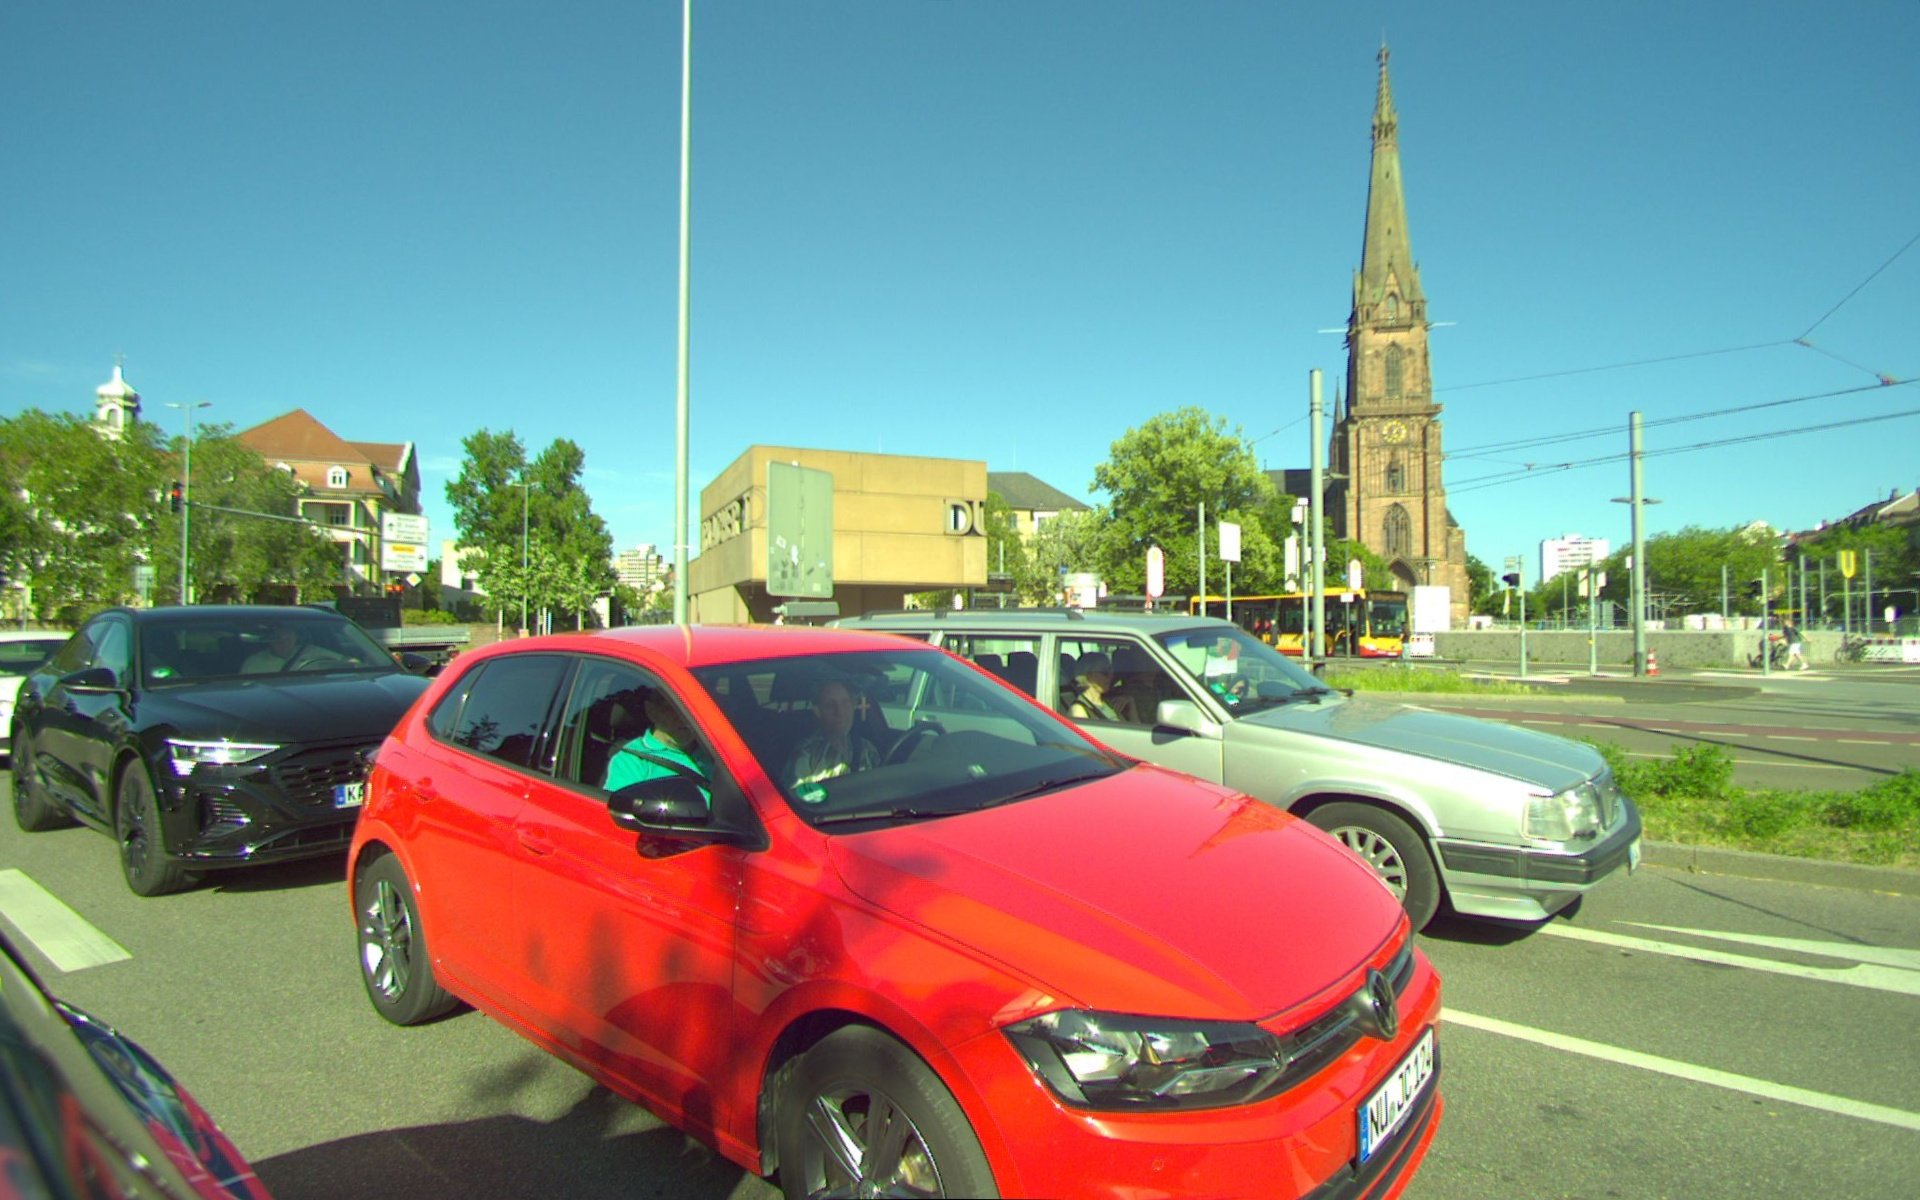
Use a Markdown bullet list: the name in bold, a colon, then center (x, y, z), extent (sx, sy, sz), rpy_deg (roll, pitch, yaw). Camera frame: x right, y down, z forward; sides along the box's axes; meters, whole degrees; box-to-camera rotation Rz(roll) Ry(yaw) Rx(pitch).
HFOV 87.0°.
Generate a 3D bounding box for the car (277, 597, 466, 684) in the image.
- **car**: center (-17.241, 1.171, 29.540), extent (6.192, 2.331, 2.094), rpy_deg (-1, -2, 32)

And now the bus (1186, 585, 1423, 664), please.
- **bus**: center (14.884, 1.152, 45.524), extent (2.715, 3.088, 12.201), rpy_deg (1, -2, -22)

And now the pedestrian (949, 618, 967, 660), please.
- **pedestrian**: center (-0.099, 1.644, 42.701), extent (0.468, 1.789, 0.638), rpy_deg (-2, -2, 37)

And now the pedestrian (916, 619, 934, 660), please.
- **pedestrian**: center (-1.535, 1.719, 44.081), extent (0.468, 1.789, 0.638), rpy_deg (-2, -2, 37)

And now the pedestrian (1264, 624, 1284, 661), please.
- **pedestrian**: center (13.101, 1.773, 42.239), extent (0.561, 1.525, 0.530), rpy_deg (-1, -1, -18)

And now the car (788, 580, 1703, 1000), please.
- **car**: center (1.229, 0.734, 5.771), extent (4.747, 1.484, 1.692), rpy_deg (-2, -2, 40)

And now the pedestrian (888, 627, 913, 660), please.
- **pedestrian**: center (-2.393, 1.744, 40.699), extent (0.635, 1.320, 0.764), rpy_deg (1, -2, -40)

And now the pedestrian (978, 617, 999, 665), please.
- **pedestrian**: center (1.080, 1.552, 38.568), extent (0.634, 1.789, 0.470), rpy_deg (1, -2, -29)

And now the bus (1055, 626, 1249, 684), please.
- **bus**: center (4.445, 1.248, 23.705), extent (4.175, 1.251, 1.627), rpy_deg (-2, -2, 36)

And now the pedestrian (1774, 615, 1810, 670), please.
- **pedestrian**: center (28.829, 1.466, 35.067), extent (0.882, 1.869, 0.679), rpy_deg (-2, -3, 42)

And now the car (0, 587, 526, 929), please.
- **car**: center (-5.003, 0.820, 6.951), extent (4.447, 1.628, 1.836), rpy_deg (-2, -2, 38)

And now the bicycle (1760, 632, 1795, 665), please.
- **bicycle**: center (29.722, 1.770, 36.783), extent (1.232, 1.182, 0.471), rpy_deg (1, -2, -25)

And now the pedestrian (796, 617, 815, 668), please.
- **pedestrian**: center (-5.458, 1.494, 35.708), extent (0.635, 1.789, 0.618), rpy_deg (0, -2, -7)

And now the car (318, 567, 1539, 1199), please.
- **car**: center (-0.488, 0.739, 3.281), extent (3.851, 1.484, 1.652), rpy_deg (-2, -1, 41)

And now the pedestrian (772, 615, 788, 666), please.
- **pedestrian**: center (-6.443, 1.450, 36.281), extent (0.460, 1.789, 0.648), rpy_deg (0, -2, -20)

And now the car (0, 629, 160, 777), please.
- **car**: center (-10.731, 1.080, 11.557), extent (3.705, 1.429, 1.557), rpy_deg (-2, -1, 36)

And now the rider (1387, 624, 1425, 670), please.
- **rider**: center (14.321, 1.500, 32.532), extent (0.658, 1.475, 0.864), rpy_deg (1, -2, -29)
